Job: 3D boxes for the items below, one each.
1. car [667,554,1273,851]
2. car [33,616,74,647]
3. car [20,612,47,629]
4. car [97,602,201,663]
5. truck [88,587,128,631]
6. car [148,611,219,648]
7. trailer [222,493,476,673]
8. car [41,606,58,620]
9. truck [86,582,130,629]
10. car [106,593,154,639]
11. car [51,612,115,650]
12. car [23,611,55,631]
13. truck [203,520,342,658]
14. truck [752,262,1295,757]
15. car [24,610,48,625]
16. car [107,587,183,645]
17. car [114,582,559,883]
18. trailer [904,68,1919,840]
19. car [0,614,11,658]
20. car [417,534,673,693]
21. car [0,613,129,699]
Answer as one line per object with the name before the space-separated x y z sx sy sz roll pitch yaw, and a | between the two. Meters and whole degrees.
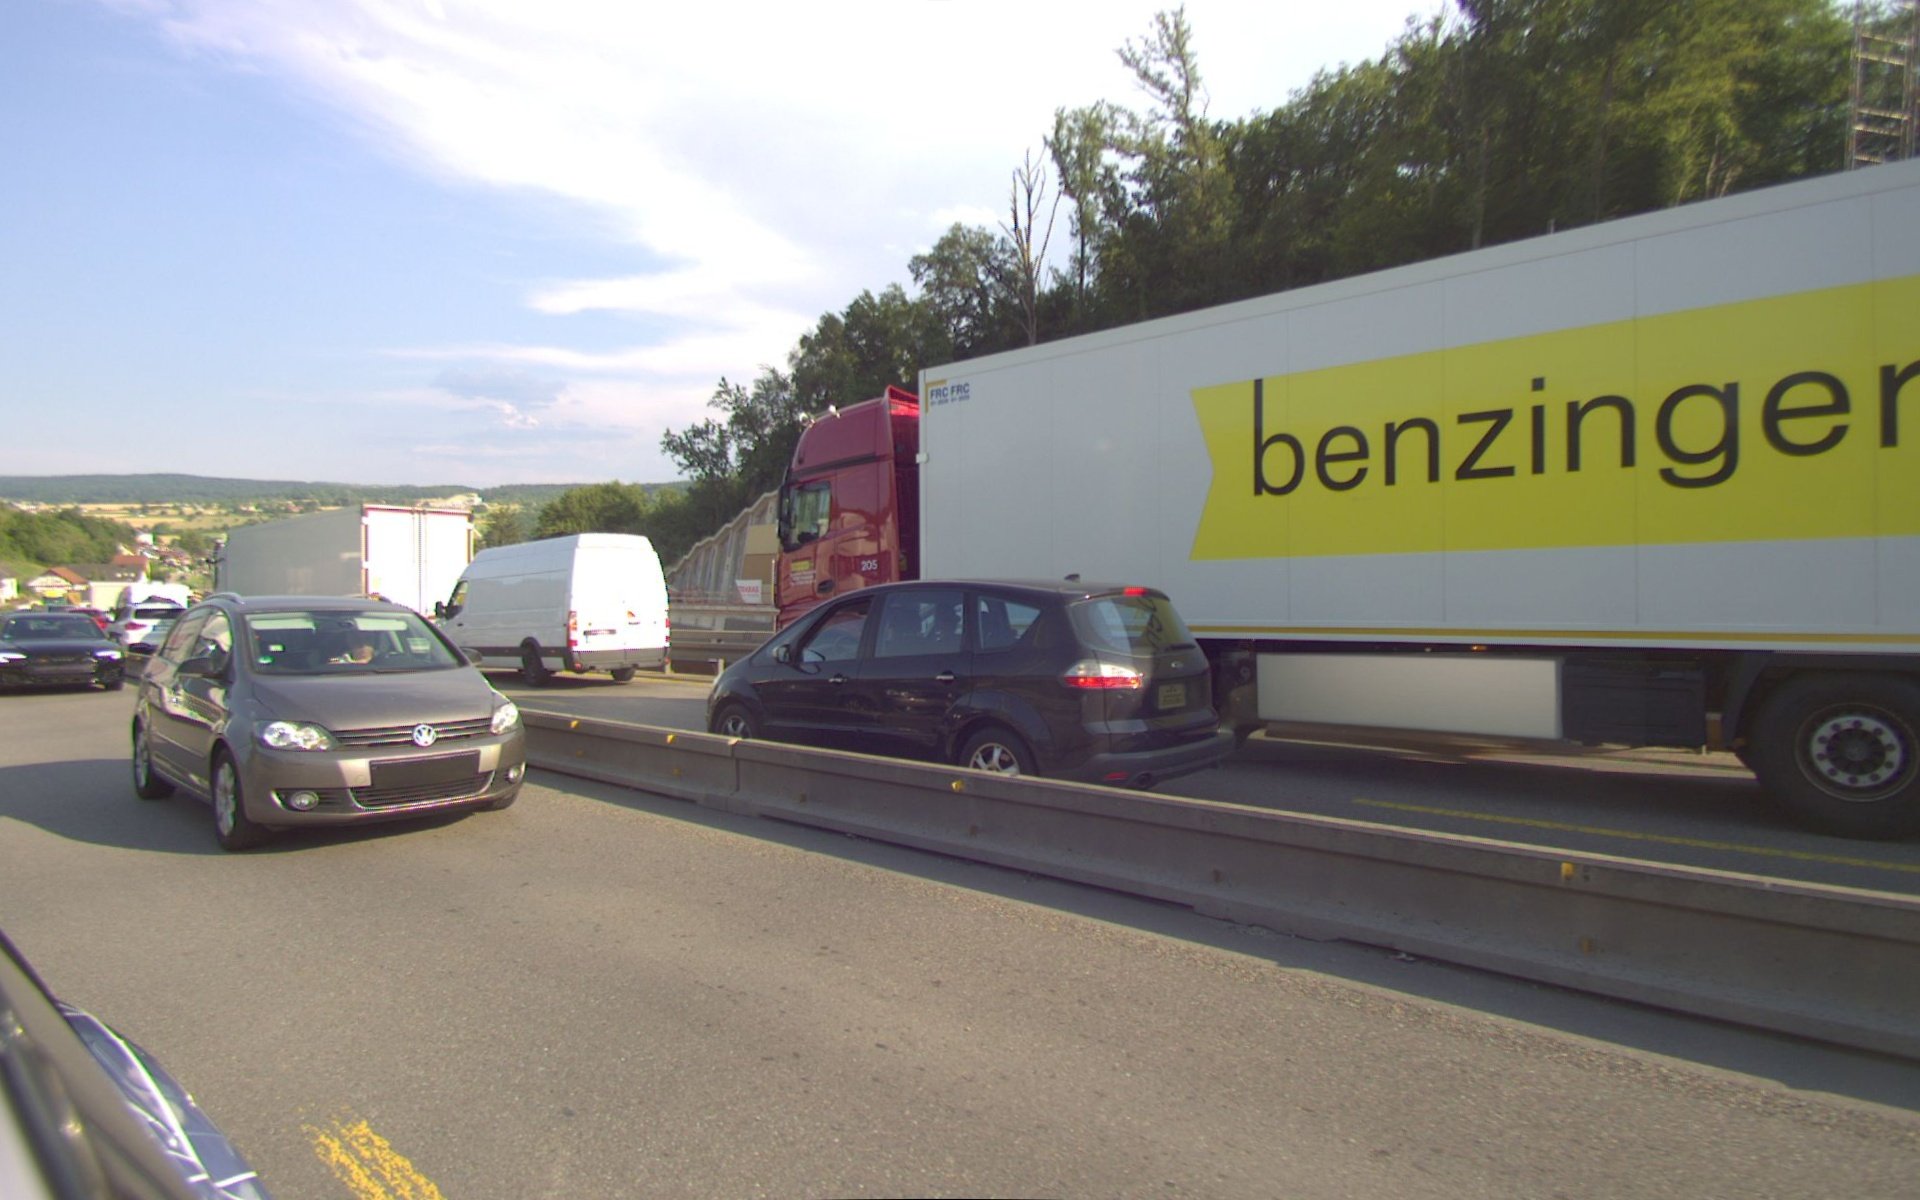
car | -0.215 0.613 7.990 4.861 1.670 1.733 -1 -1 42
car | -55.761 1.928 62.221 1.783 1.785 5.458 0 -2 -42
car | -93.023 2.039 101.599 1.796 1.591 4.758 3 -4 -44
car | -24.352 1.004 30.307 4.805 1.601 1.848 -4 -2 44
truck | -70.702 0.788 83.967 2.417 3.489 7.628 0 -1 -41
car | -32.360 1.203 42.144 4.715 1.471 1.723 -1 -1 45
trailer | -18.330 -0.364 29.594 13.748 4.250 2.691 -1 -1 43
car | -143.025 2.104 158.925 1.796 2.015 4.758 3 -4 -44
truck | -79.756 0.529 94.635 2.674 4.119 14.172 1 -1 -42
car | -50.637 0.954 61.692 1.933 2.640 5.755 1 -1 -43
car | -39.730 1.405 45.835 1.866 1.580 4.457 -1 0 -45
car | -78.416 1.844 86.153 1.796 1.591 4.758 3 -4 -44
truck | -23.292 -0.318 34.207 5.682 4.250 2.683 -1 -1 43
truck | 0.490 -0.772 11.844 5.931 4.332 2.716 -1 -1 41
car | -103.341 1.942 113.183 1.796 1.591 4.758 3 -4 -44
car | -44.089 0.810 54.636 7.636 2.940 2.308 0 -1 45
car | -4.680 0.704 7.331 4.098 1.585 1.666 -1 0 42
trailer | 5.508 -0.820 7.470 13.874 4.366 2.737 -1 -1 41
car | -33.101 1.225 34.008 1.674 1.409 4.004 -2 0 -43
car | -8.543 0.271 20.334 6.949 2.710 2.000 -1 0 43
car | -17.074 0.959 18.906 4.000 1.409 1.842 0 -1 42
